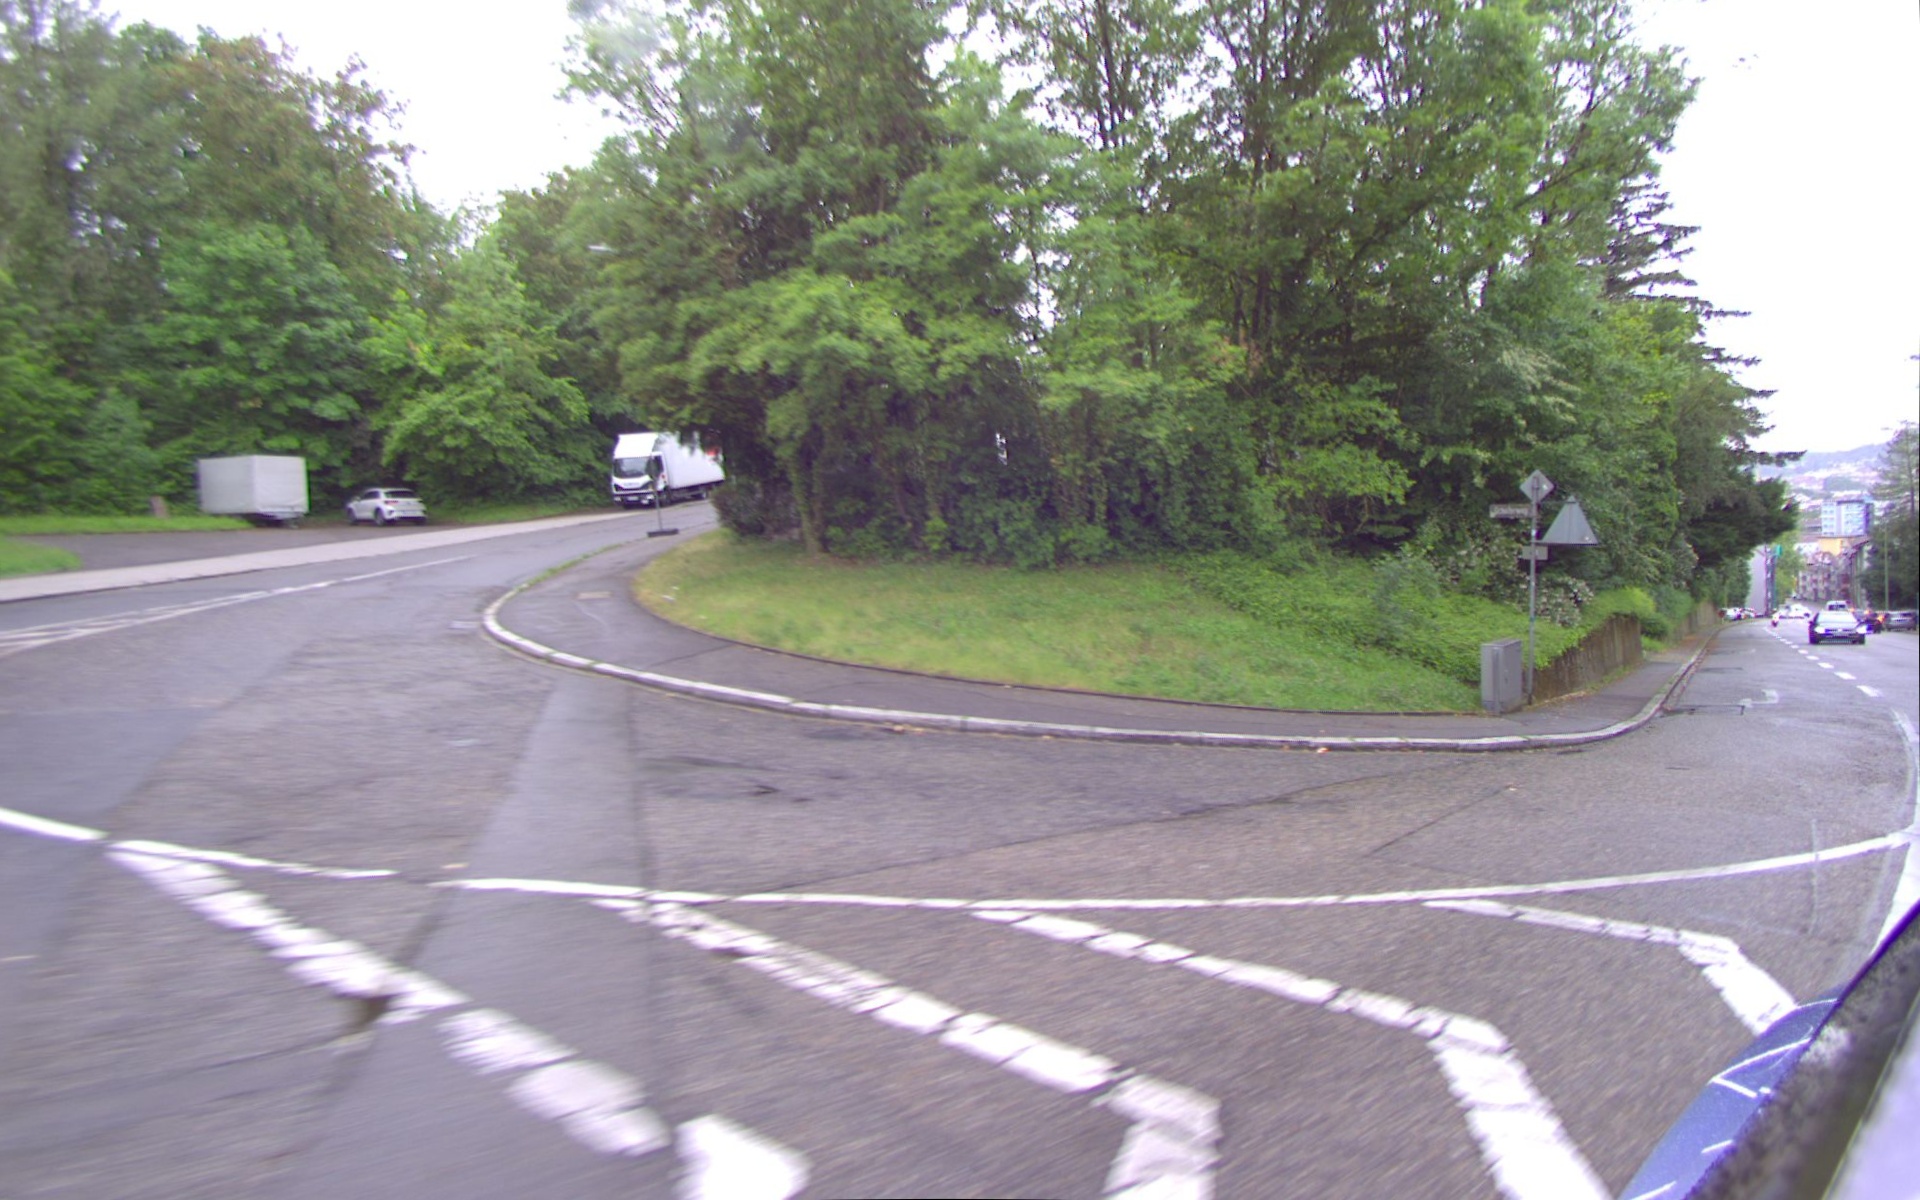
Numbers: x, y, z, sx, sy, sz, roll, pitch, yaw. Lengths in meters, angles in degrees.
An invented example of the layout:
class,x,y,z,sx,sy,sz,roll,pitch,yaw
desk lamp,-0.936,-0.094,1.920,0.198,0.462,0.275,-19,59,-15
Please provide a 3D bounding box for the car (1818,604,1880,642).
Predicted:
class,x,y,z,sx,sy,sz,roll,pitch,yaw
car,39.770,0.983,45.306,1.992,1.633,3.907,-1,-1,41

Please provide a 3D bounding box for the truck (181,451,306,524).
class,x,y,z,sx,sy,sz,roll,pitch,yaw
truck,-28.403,-4.432,40.078,5.530,2.728,1.940,4,5,30

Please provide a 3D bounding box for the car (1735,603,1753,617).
class,x,y,z,sx,sy,sz,roll,pitch,yaw
car,102.213,1.282,131.967,1.762,1.644,4.612,0,0,39

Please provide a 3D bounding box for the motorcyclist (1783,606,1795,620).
class,x,y,z,sx,sy,sz,roll,pitch,yaw
motorcyclist,72.859,1.151,88.955,0.776,1.141,0.540,-3,-3,43

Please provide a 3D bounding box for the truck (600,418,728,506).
class,x,y,z,sx,sy,sz,roll,pitch,yaw
truck,-13.964,-6.734,48.646,2.436,3.781,8.235,-1,9,9

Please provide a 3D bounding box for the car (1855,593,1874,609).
class,x,y,z,sx,sy,sz,roll,pitch,yaw
car,148.641,0.150,166.399,2.115,2.583,5.364,2,1,40

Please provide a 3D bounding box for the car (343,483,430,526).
class,x,y,z,sx,sy,sz,roll,pitch,yaw
car,-23.885,-3.950,42.125,3.597,1.641,1.823,3,2,35

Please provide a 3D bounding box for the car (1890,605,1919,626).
class,x,y,z,sx,sy,sz,roll,pitch,yaw
car,70.726,1.147,75.378,1.620,1.519,3.877,-3,-2,35

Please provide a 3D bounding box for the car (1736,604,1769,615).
class,x,y,z,sx,sy,sz,roll,pitch,yaw
car,133.347,1.539,170.250,4.181,1.593,1.776,4,2,41

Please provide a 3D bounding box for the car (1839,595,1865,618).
class,x,y,z,sx,sy,sz,roll,pitch,yaw
car,105.232,0.792,119.405,2.115,2.583,5.364,2,1,40

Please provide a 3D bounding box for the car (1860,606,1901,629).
class,x,y,z,sx,sy,sz,roll,pitch,yaw
car,61.318,1.170,67.447,1.671,1.515,3.413,-2,-1,37

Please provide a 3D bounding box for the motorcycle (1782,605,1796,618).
class,x,y,z,sx,sy,sz,roll,pitch,yaw
motorcycle,72.811,1.018,88.921,0.776,1.141,2.263,-3,-2,43

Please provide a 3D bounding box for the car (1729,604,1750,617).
class,x,y,z,sx,sy,sz,roll,pitch,yaw
car,95.291,1.307,123.735,1.737,1.496,4.668,2,1,41
